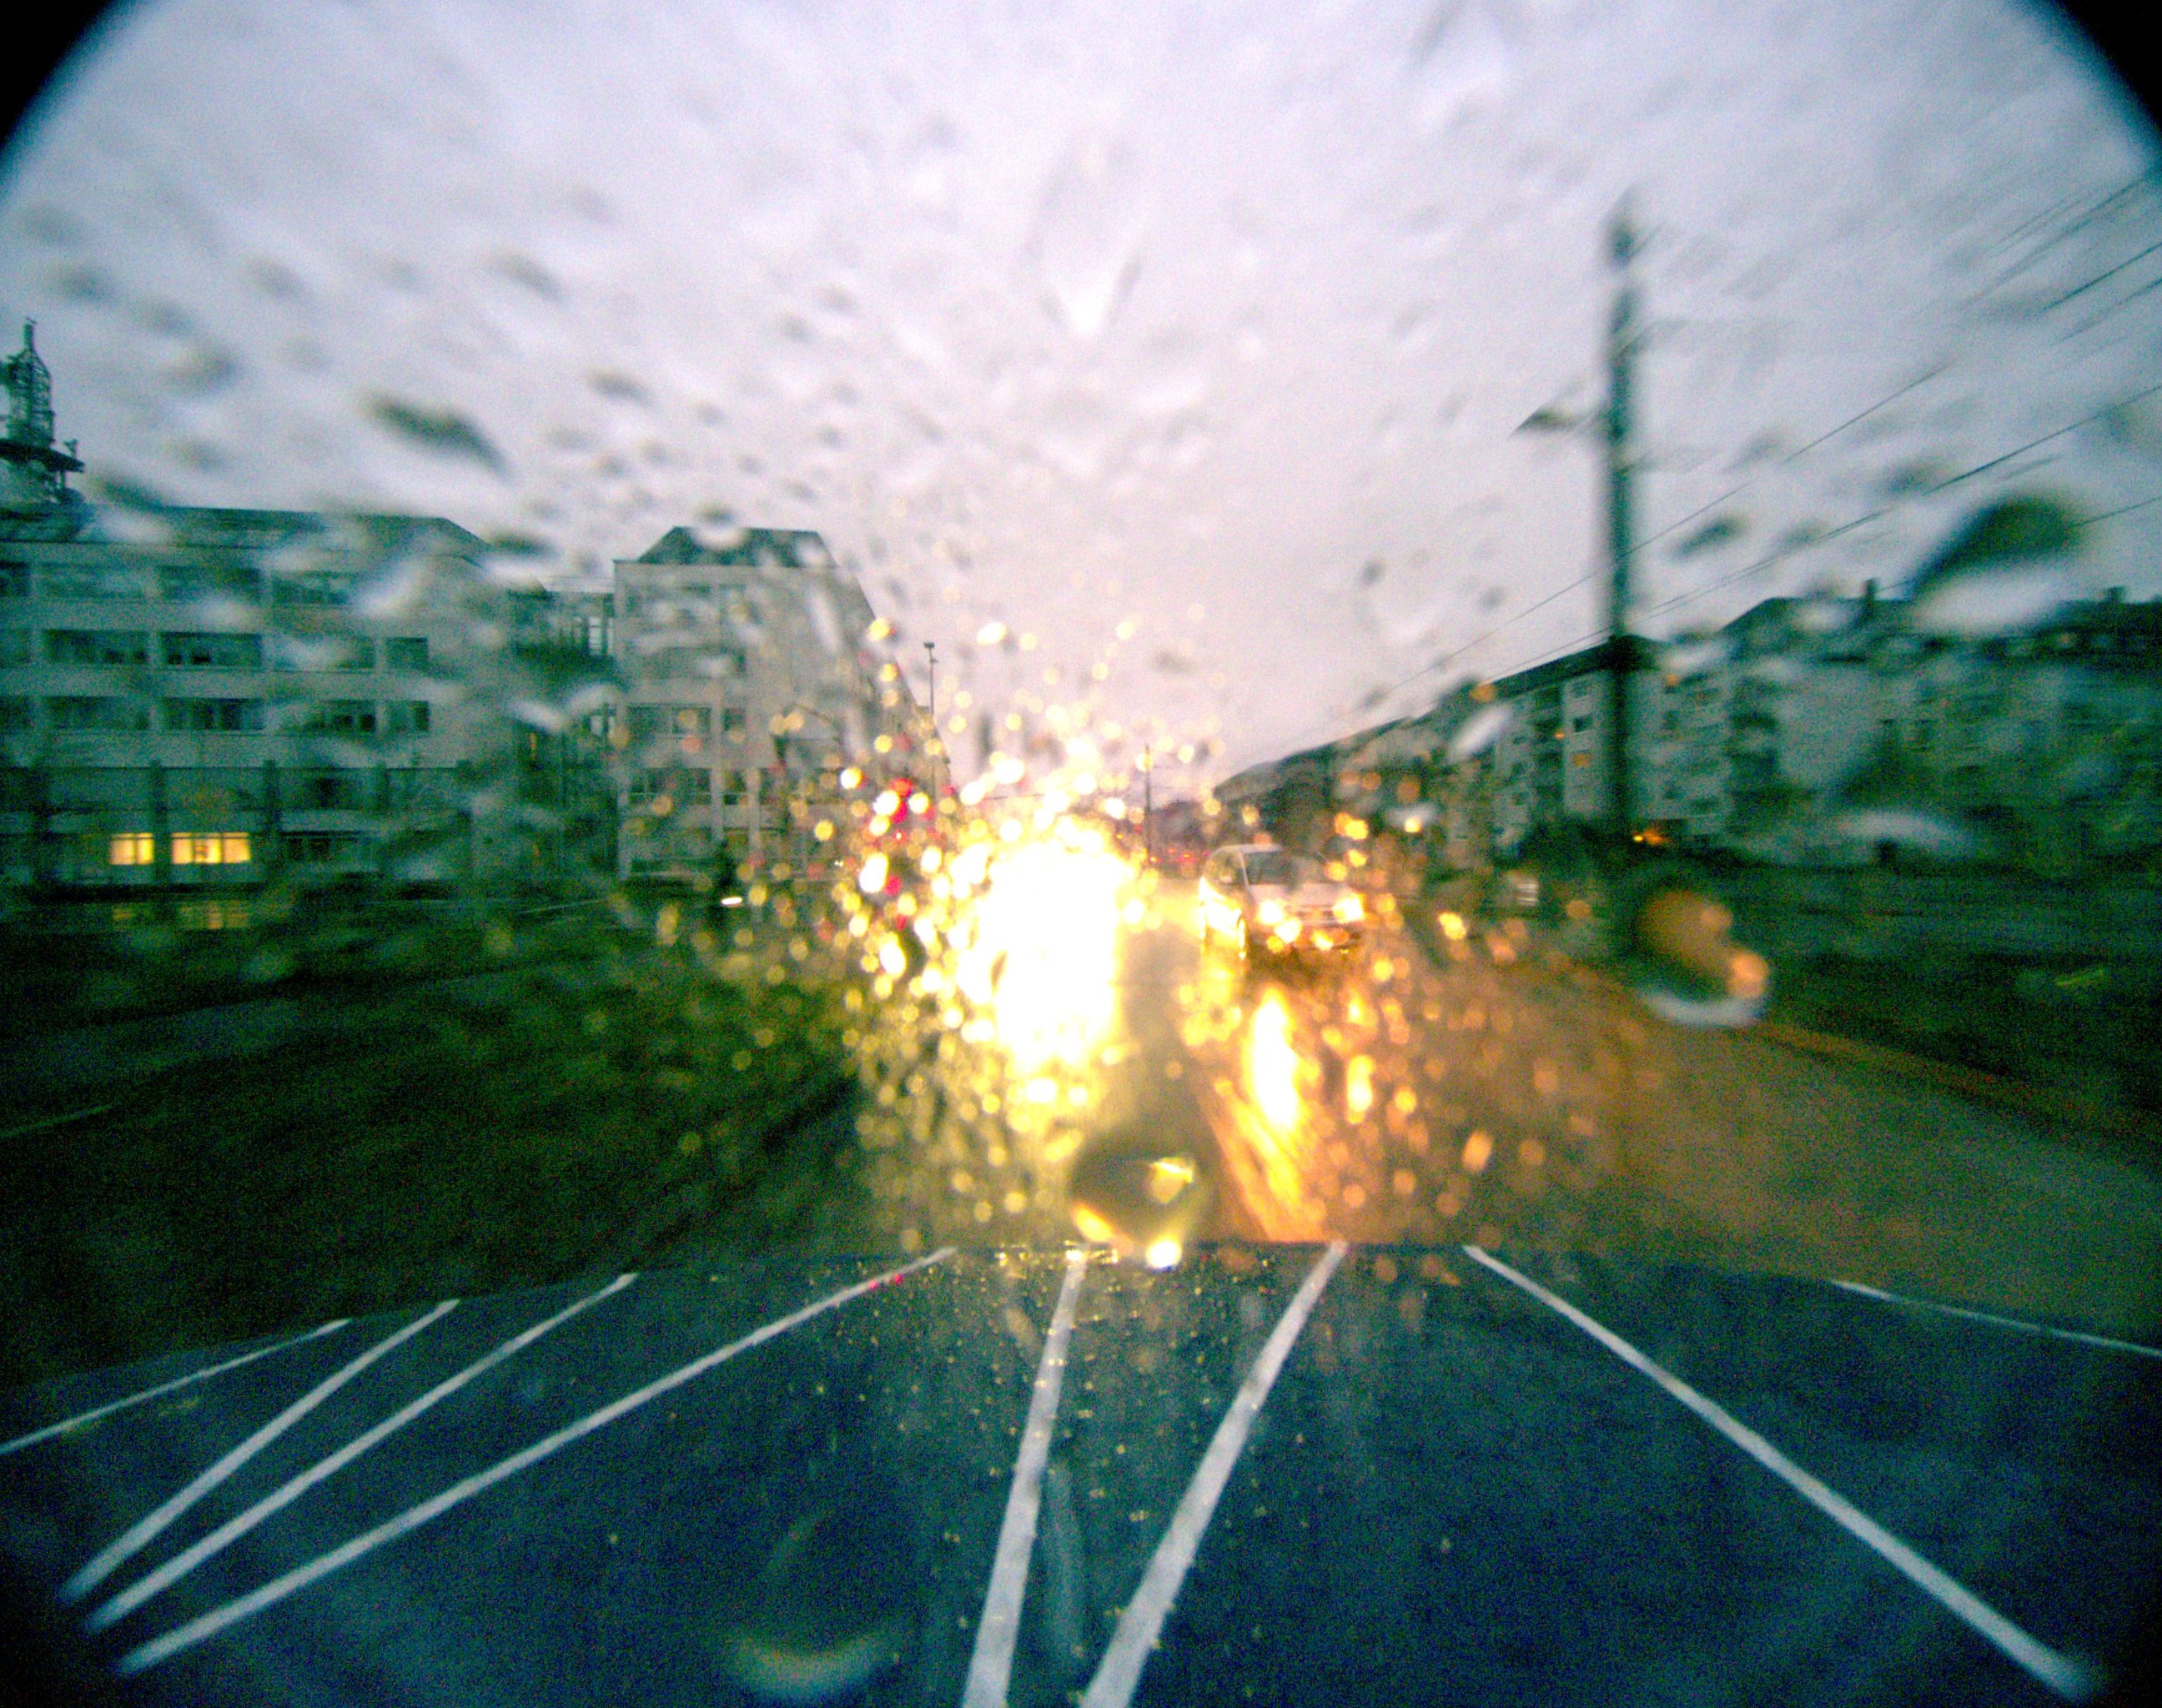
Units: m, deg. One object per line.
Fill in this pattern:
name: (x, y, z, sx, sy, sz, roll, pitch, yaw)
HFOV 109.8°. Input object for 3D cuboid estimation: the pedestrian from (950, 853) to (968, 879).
pedestrian: (-8.345, 0.804, 51.976, 0.796, 1.740, 0.863, 3, 0, 21)

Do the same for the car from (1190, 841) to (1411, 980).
car: (3.109, 0.684, 11.723, 2.021, 1.668, 3.998, -2, 2, -3)

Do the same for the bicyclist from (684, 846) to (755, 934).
bicyclist: (-6.189, 0.589, 13.052, 0.753, 1.422, 0.926, -2, 2, -4)

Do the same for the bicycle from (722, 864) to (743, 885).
bicycle: (-19.073, 1.102, 41.602, 0.471, 1.098, 1.874, 0, 1, -7)

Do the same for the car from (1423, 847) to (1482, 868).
car: (28.484, 0.251, 58.285, 3.811, 1.359, 1.696, -2, 2, -11)

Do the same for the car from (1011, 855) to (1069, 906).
car: (-1.412, 0.821, 25.586, 1.758, 1.418, 3.801, -2, 2, -4)

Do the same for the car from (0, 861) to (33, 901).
car: (-45.683, 1.181, 30.788, 3.278, 1.627, 1.998, -2, 2, -5)

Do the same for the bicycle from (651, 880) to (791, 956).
bicycle: (-6.120, 1.065, 13.058, 1.970, 1.208, 1.039, 0, -1, -10)

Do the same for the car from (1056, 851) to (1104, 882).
car: (-0.107, 0.643, 40.632, 1.976, 1.492, 4.088, -2, 0, -8)

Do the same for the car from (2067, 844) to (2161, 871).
car: (63.962, 0.185, 46.799, 1.680, 1.513, 3.613, -2, 2, -7)

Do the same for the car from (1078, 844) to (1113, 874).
car: (1.032, 0.334, 56.498, 1.958, 2.022, 4.879, -2, 1, -6)
